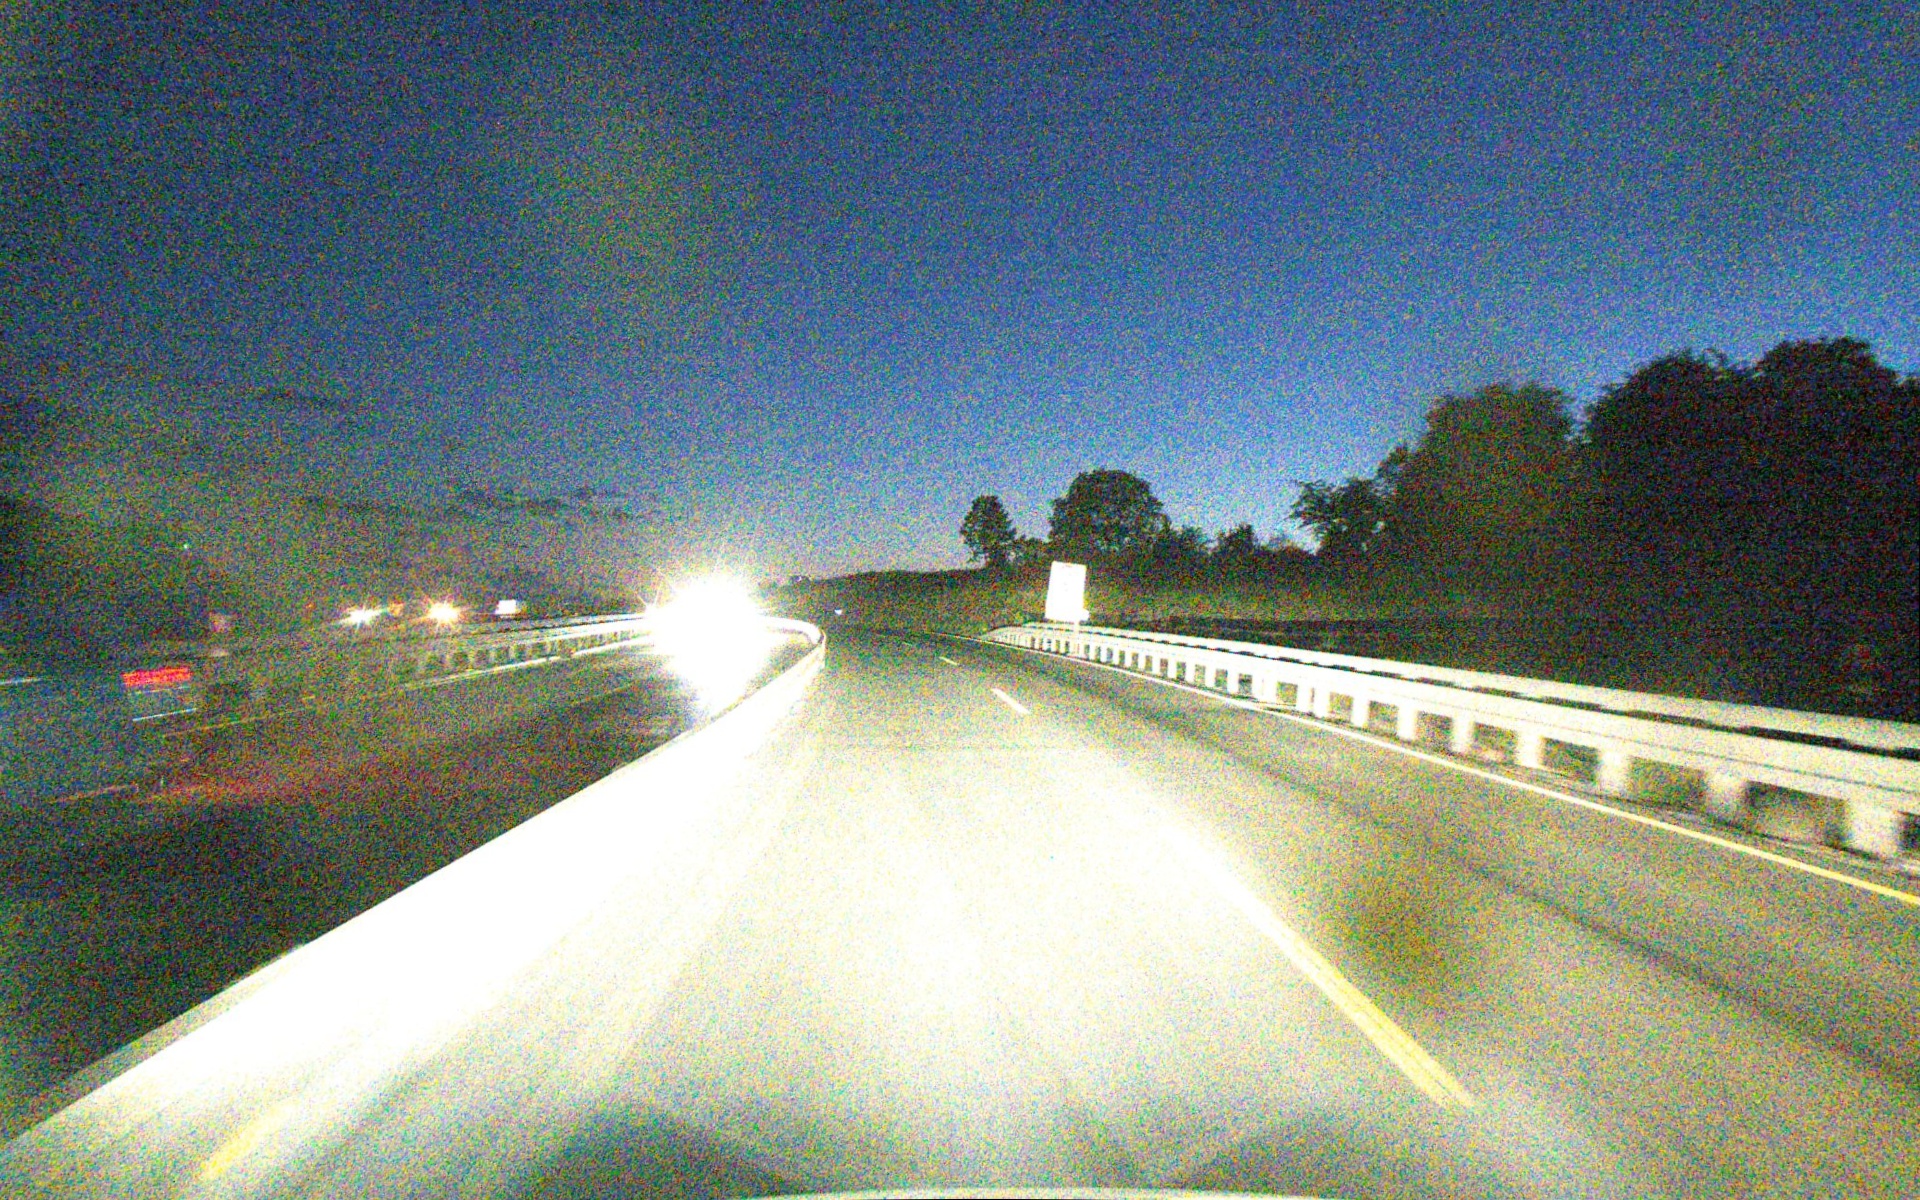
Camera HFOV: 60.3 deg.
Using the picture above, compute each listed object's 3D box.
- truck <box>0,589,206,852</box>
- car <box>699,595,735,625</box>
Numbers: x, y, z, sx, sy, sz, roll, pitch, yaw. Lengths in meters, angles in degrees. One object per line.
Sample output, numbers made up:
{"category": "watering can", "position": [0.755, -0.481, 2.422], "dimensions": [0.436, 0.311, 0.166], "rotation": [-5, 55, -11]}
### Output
{"category": "truck", "position": [-6.295, 0.679, 10.051], "dimensions": [1.649, 1.495, 4.151], "rotation": [1, -1, -3]}
{"category": "car", "position": [-12.636, 0.543, 86.201], "dimensions": [1.679, 1.469, 4.481], "rotation": [-1, -1, -6]}
